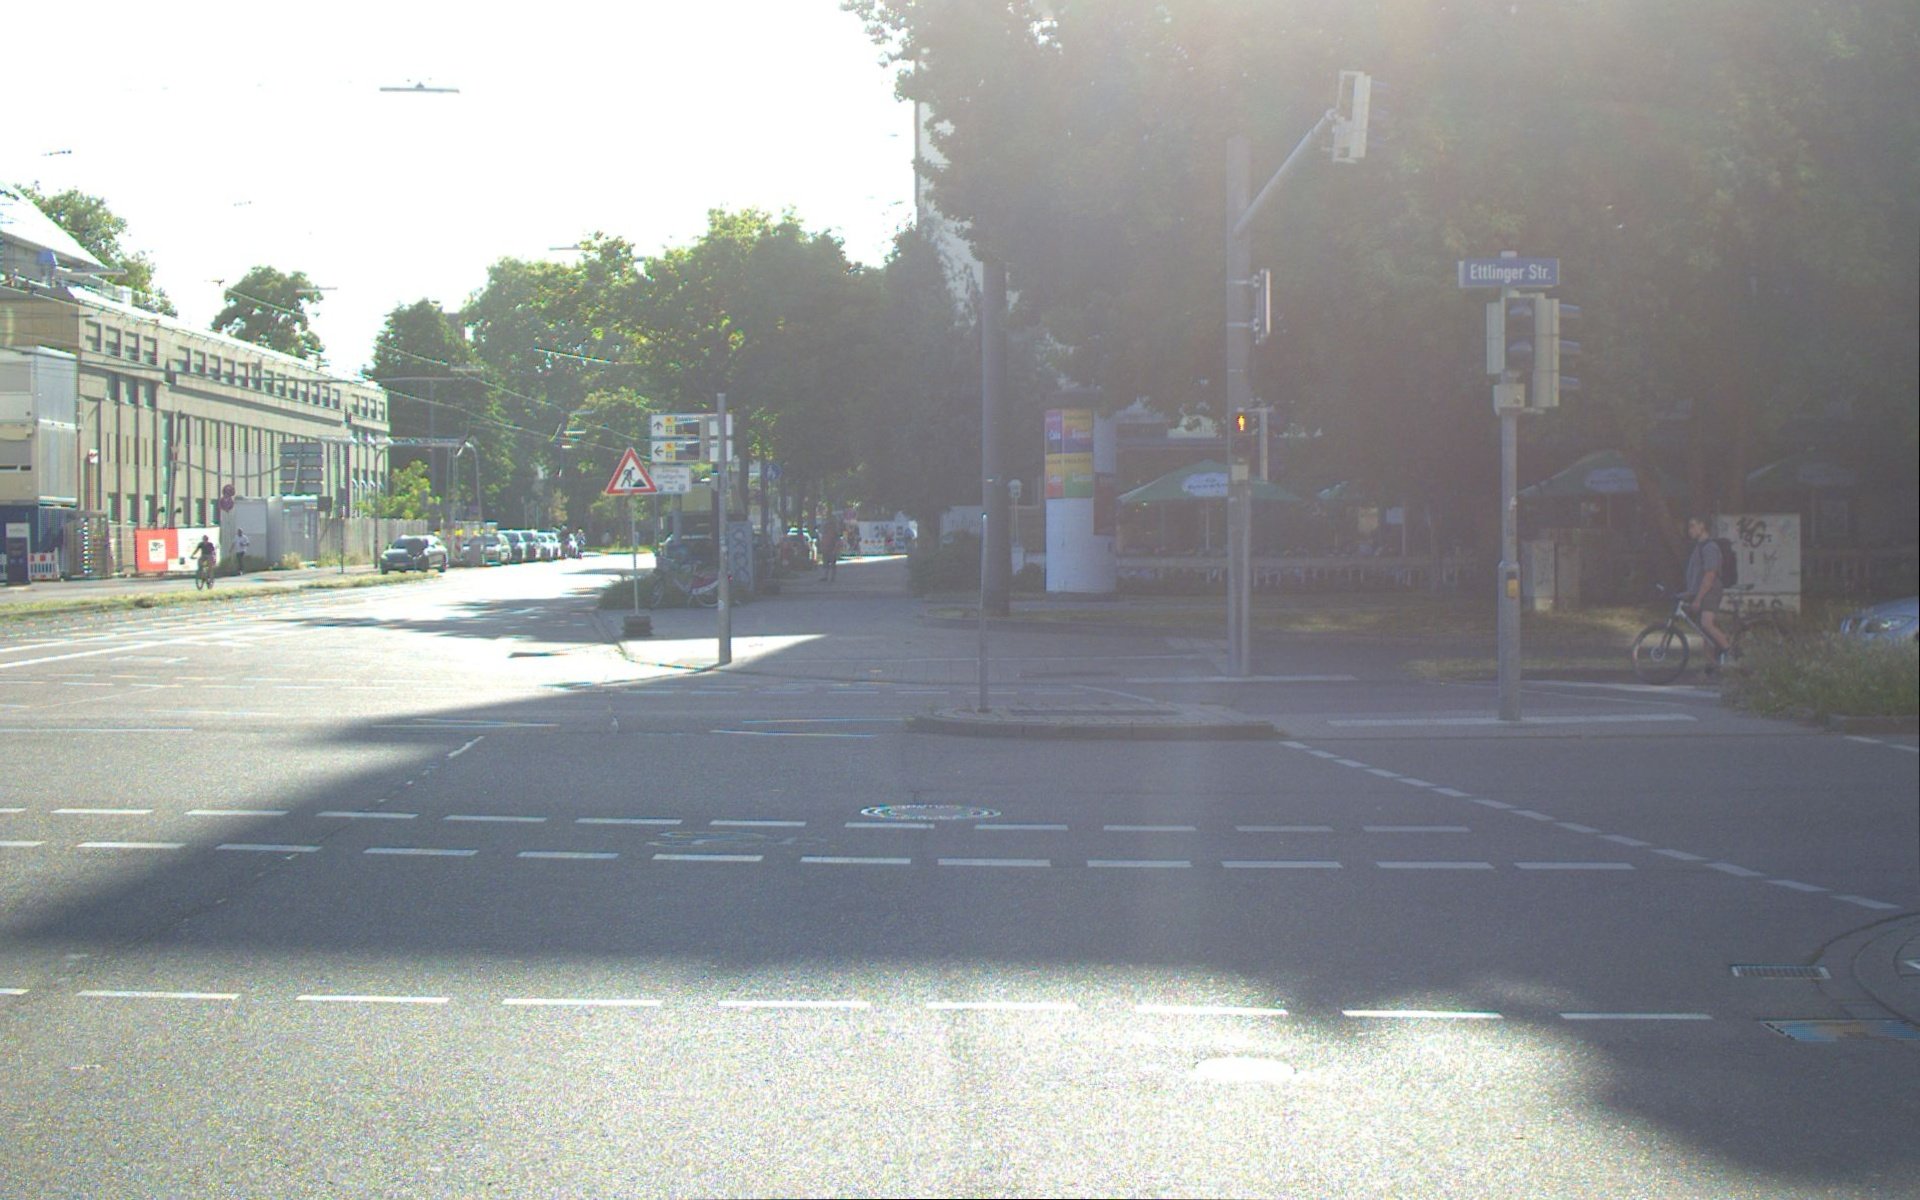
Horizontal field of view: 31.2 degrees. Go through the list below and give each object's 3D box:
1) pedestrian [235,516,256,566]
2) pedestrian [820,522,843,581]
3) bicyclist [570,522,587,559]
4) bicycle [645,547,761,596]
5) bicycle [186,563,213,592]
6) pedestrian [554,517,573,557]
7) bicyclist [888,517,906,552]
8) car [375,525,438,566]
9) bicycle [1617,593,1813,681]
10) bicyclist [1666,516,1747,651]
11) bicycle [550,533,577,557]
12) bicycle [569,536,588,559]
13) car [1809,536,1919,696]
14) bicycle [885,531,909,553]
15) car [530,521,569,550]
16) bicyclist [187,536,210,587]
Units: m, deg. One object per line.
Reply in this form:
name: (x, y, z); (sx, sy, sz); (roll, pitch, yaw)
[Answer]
pedestrian: (-27.168, -2.246, 130.733); (0.588, 1.883, 0.477); (1, 0, 22)
pedestrian: (-3.659, -1.377, 97.633); (0.576, 1.683, 0.585); (-1, 1, -8)
bicyclist: (-20.051, -3.126, 180.592); (0.750, 1.913, 1.215); (1, 0, -2)
bicycle: (-5.034, -0.556, 67.219); (2.244, 0.937, 0.654); (-1, 1, -5)
bicycle: (-22.466, -0.678, 101.544); (0.494, 0.836, 1.156); (-1, 1, 2)
pedestrian: (-20.281, -3.228, 175.998); (0.751, 2.056, 1.050); (1, 0, 5)
bicyclist: (-3.653, -3.814, 200.142); (0.890, 2.007, 0.749); (1, 0, -12)
car: (-22.121, -2.179, 137.555); (1.993, 1.593, 4.001); (-1, 1, -2)
bicycle: (7.978, 0.386, 36.373); (1.944, 0.886, 0.718); (1, 0, 6)
bicyclist: (7.896, -0.177, 36.372); (0.747, 1.401, 0.702); (1, 0, 6)
bicycle: (-20.277, -2.803, 175.935); (0.751, 1.201, 3.107); (1, 1, 5)
bicycle: (-20.057, -2.754, 180.715); (0.750, 1.201, 3.108); (1, 1, -2)
car: (10.842, 0.172, 33.566); (4.576, 1.511, 2.000); (1, 0, 0)
bicycle: (-3.675, -3.373, 200.235); (0.890, 1.215, 2.794); (1, 1, -12)
car: (-23.239, -3.642, 194.685); (1.993, 1.638, 4.001); (-1, 1, -4)
bicyclist: (-22.479, -1.129, 101.542); (0.494, 1.493, 0.666); (-1, 1, 2)
